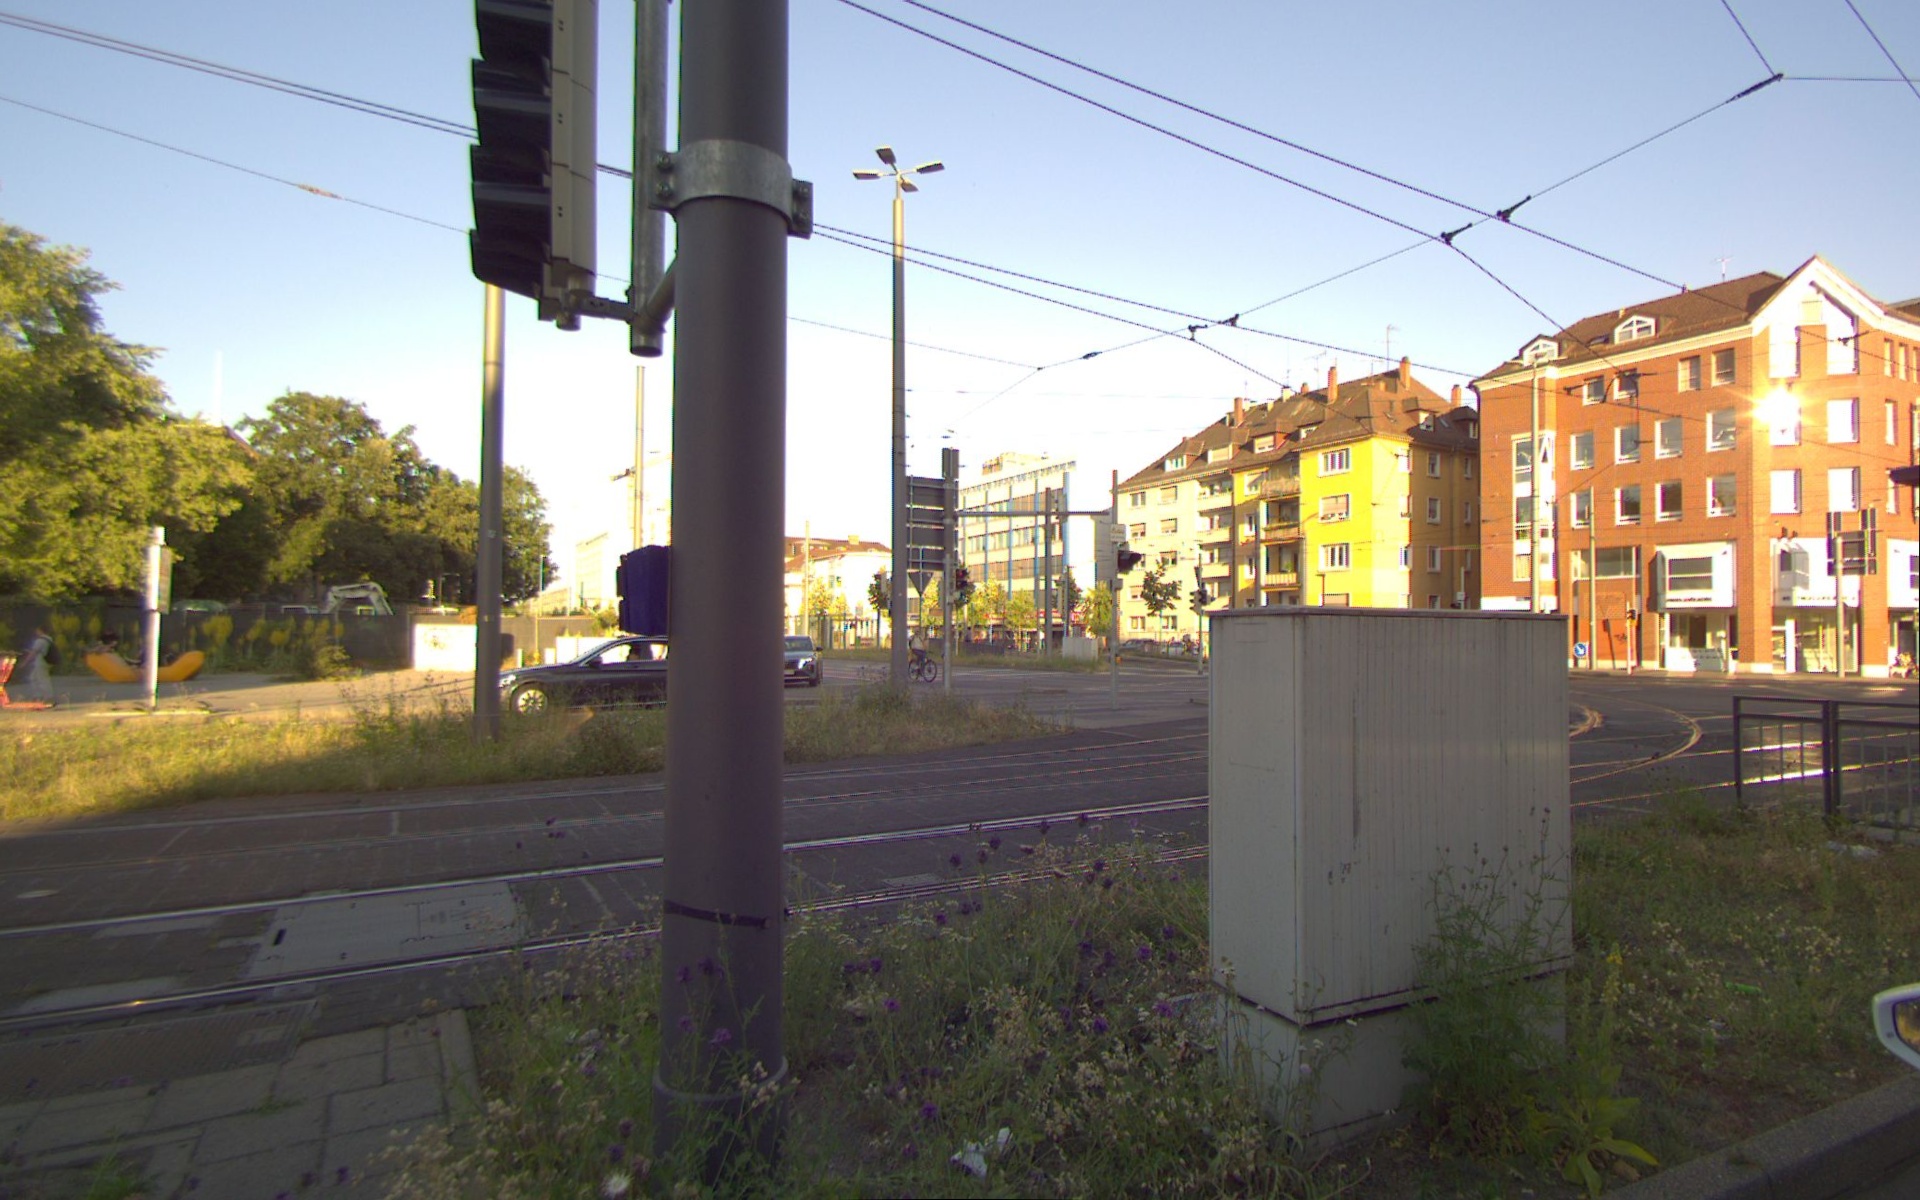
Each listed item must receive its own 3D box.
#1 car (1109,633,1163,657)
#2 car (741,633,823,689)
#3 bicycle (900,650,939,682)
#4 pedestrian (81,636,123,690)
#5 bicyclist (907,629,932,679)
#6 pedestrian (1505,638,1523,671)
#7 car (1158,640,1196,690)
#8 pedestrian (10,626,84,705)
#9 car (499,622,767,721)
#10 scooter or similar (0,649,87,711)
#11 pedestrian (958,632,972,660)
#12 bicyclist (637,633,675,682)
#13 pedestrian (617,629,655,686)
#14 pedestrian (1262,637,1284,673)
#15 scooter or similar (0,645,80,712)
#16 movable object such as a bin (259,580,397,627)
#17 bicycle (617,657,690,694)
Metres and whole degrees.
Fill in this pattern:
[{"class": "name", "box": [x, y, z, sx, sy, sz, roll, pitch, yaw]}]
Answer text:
[{"class": "car", "box": [14.670, 3.755, 84.108, 2.096, 1.727, 4.313, 5, -4, -31]}, {"class": "car", "box": [-5.822, 1.915, 32.462, 1.919, 1.682, 4.517, 1, -2, -19]}, {"class": "bicycle", "box": [-1.385, 2.252, 34.287, 0.589, 1.036, 1.833, 1, -2, -29]}, {"class": "pedestrian", "box": [-27.271, 1.989, 31.946, 0.753, 1.687, 0.818, 1, -2, -23]}, {"class": "bicyclist", "box": [-1.382, 1.846, 34.296, 0.589, 1.693, 0.742, 1, -2, -30]}, {"class": "pedestrian", "box": [30.855, 3.022, 55.958, 0.808, 1.801, 0.632, 1, -1, -37]}, {"class": "car", "box": [17.091, 5.113, 79.251, 1.714, 3.610, 1.405, 3, 18, -21]}, {"class": "pedestrian", "box": [-20.682, 1.473, 22.768, 0.812, 1.746, 0.880, 0, -3, 13]}, {"class": "car", "box": [-5.894, 1.237, 18.137, 4.357, 1.537, 1.987, 2, 0, -27]}, {"class": "scooter or similar", "box": [-18.384, 1.579, 20.059, 0.452, 1.181, 1.405, 0, -2, 16]}, {"class": "pedestrian", "box": [0.289, 2.679, 58.102, 0.558, 1.612, 0.686, 1, -2, -26]}, {"class": "bicyclist", "box": [-8.057, 1.515, 26.621, 0.658, 1.274, 0.725, -1, -2, 40]}, {"class": "pedestrian", "box": [-10.298, 1.817, 31.943, 0.805, 1.758, 0.945, 0, -2, 9]}, {"class": "pedestrian", "box": [13.757, 2.414, 44.128, 0.695, 1.561, 0.635, 0, -2, -13]}, {"class": "scooter or similar", "box": [-18.830, 1.559, 20.232, 0.452, 1.309, 1.654, 0, -2, 16]}, {"class": "movable object such as a bin", "box": [-28.395, 0.175, 45.220, 4.924, 2.040, 2.001, 0, -2, 1]}, {"class": "bicycle", "box": [-8.090, 1.969, 26.563, 0.670, 0.904, 1.789, -1, -2, 39]}]
